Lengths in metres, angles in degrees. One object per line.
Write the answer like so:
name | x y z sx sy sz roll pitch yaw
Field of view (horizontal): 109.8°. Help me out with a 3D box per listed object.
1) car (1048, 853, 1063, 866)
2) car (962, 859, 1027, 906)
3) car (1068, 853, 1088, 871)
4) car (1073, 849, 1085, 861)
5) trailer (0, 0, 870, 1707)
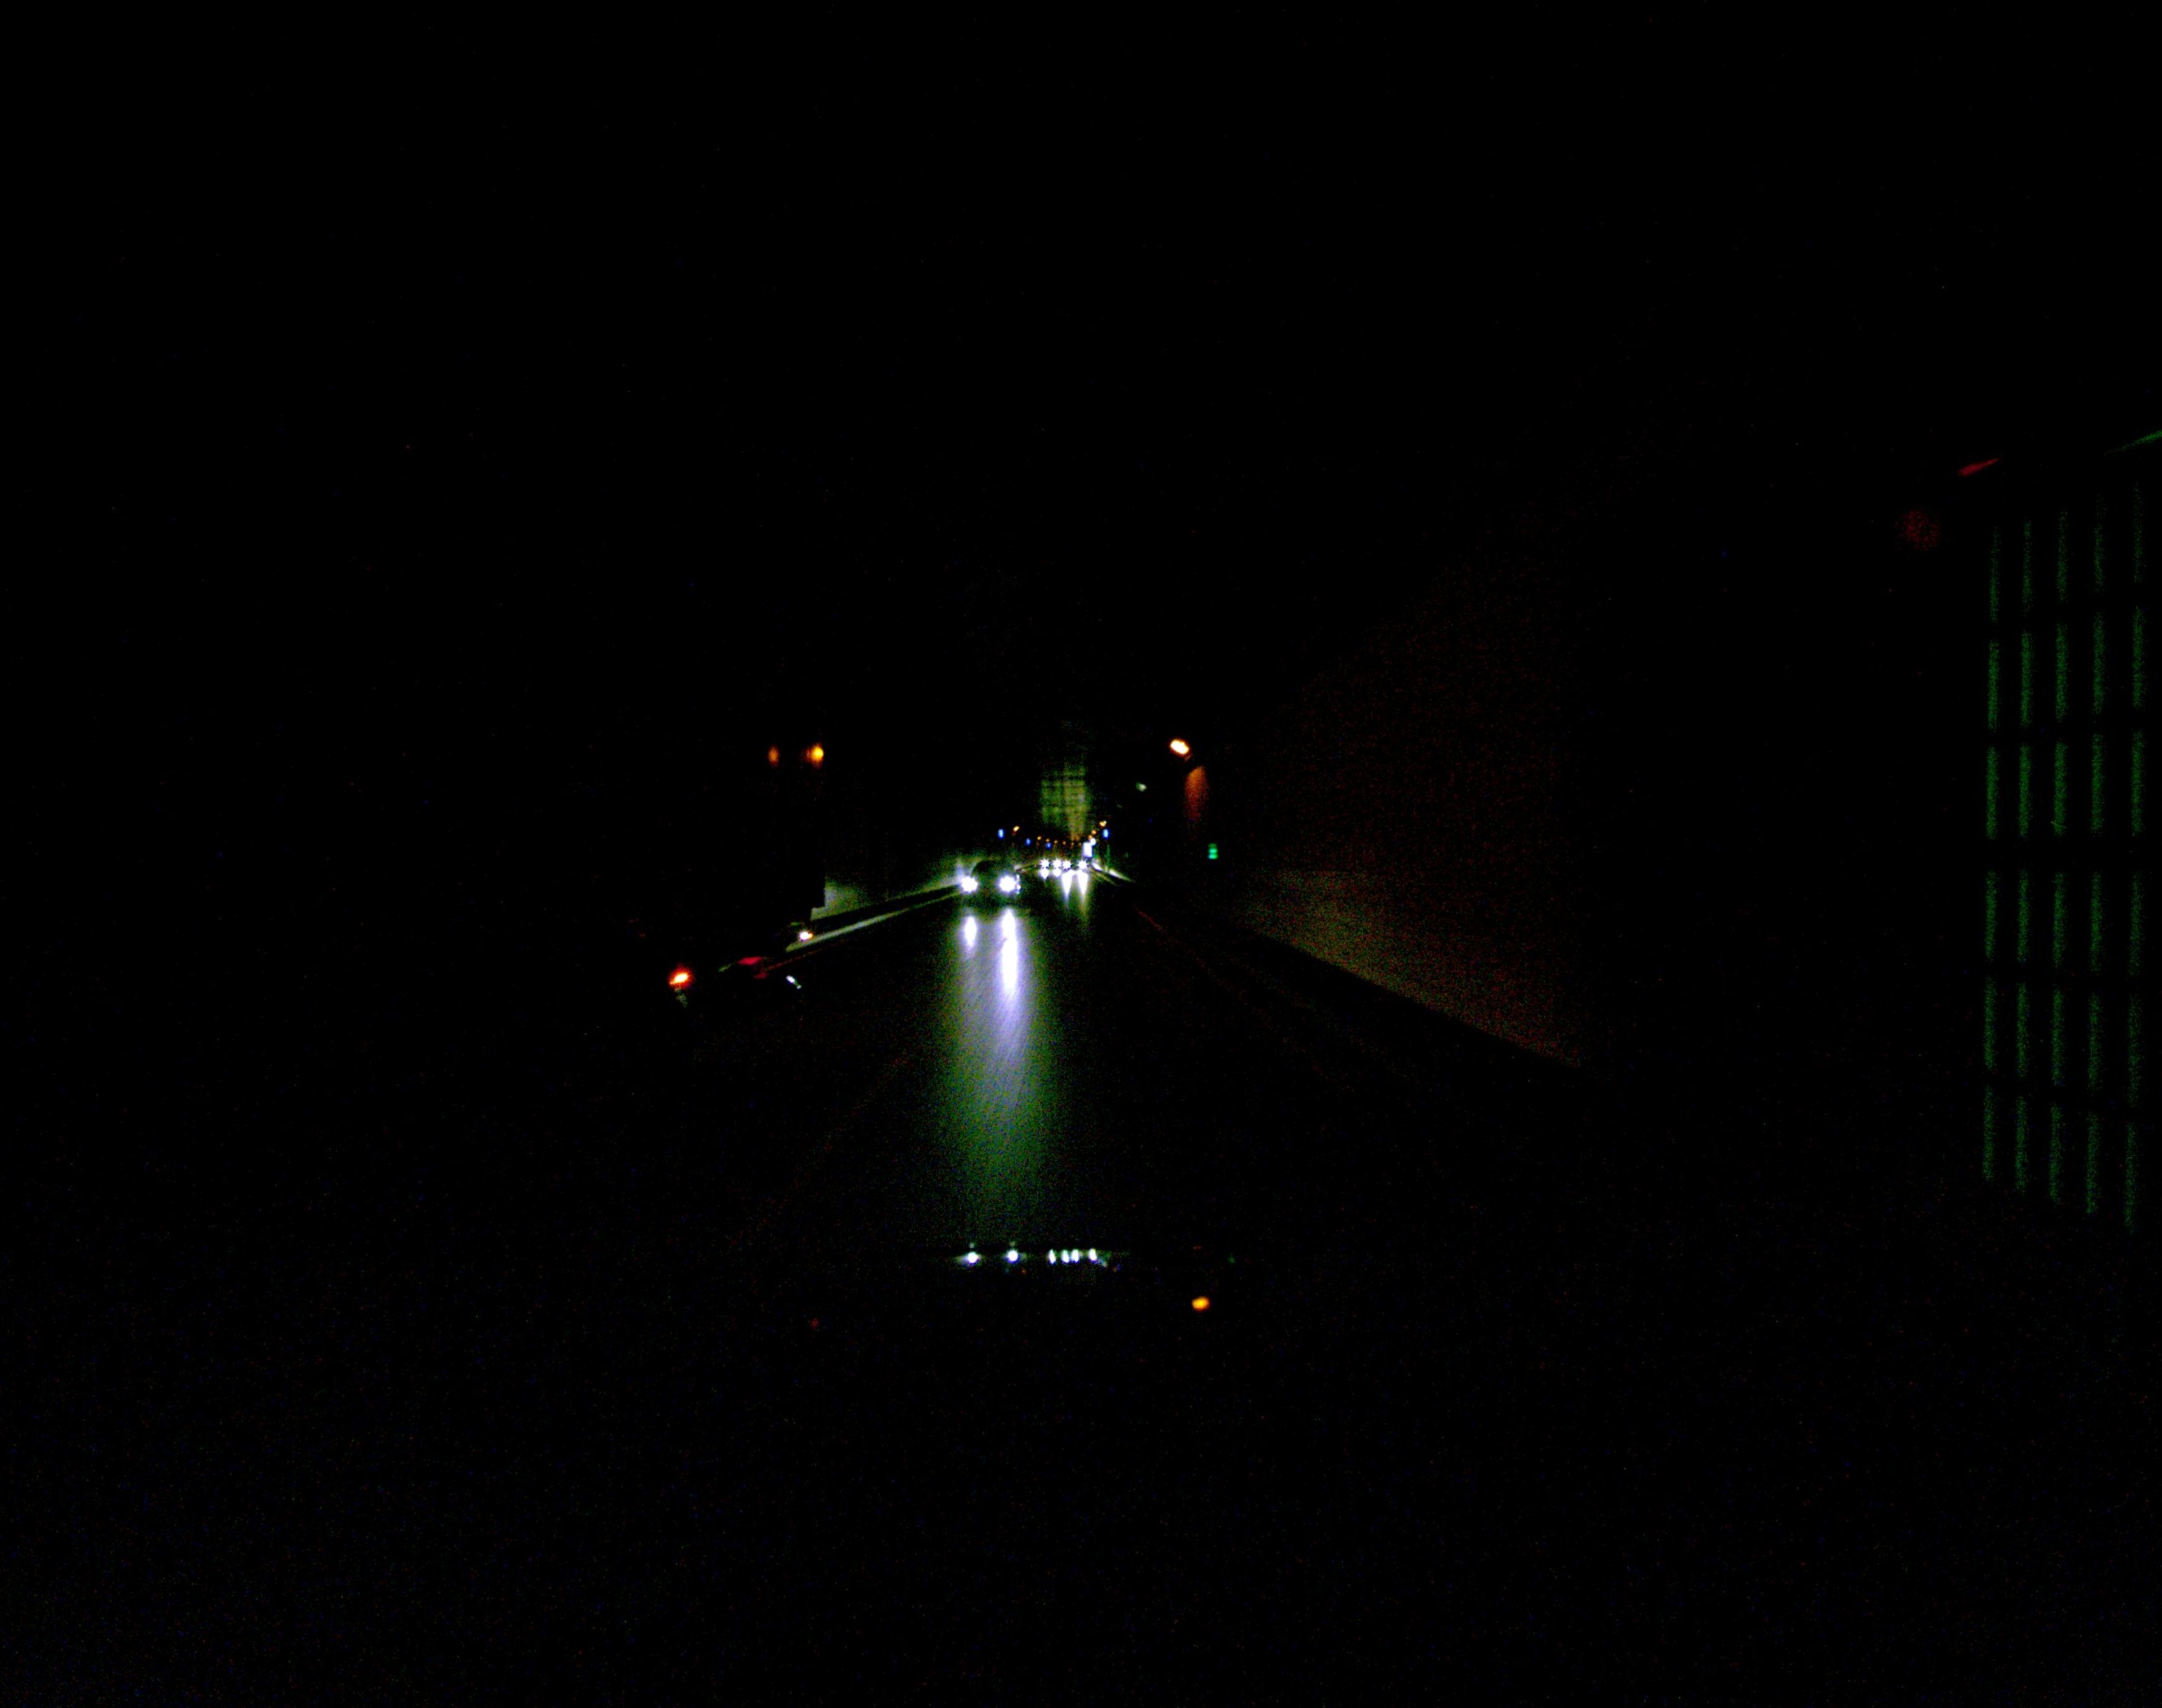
car | -3.214 0.642 95.452 1.735 1.565 3.999 -1 0 0
car | -2.949 0.936 26.581 1.735 1.395 3.798 -2 1 1
car | -0.276 0.769 73.220 1.820 1.589 4.000 2 0 1
car | -0.316 0.103 115.152 1.715 1.729 3.998 0 2 0
trailer | -3.232 -0.309 1.557 2.882 3.836 8.948 0 0 1
